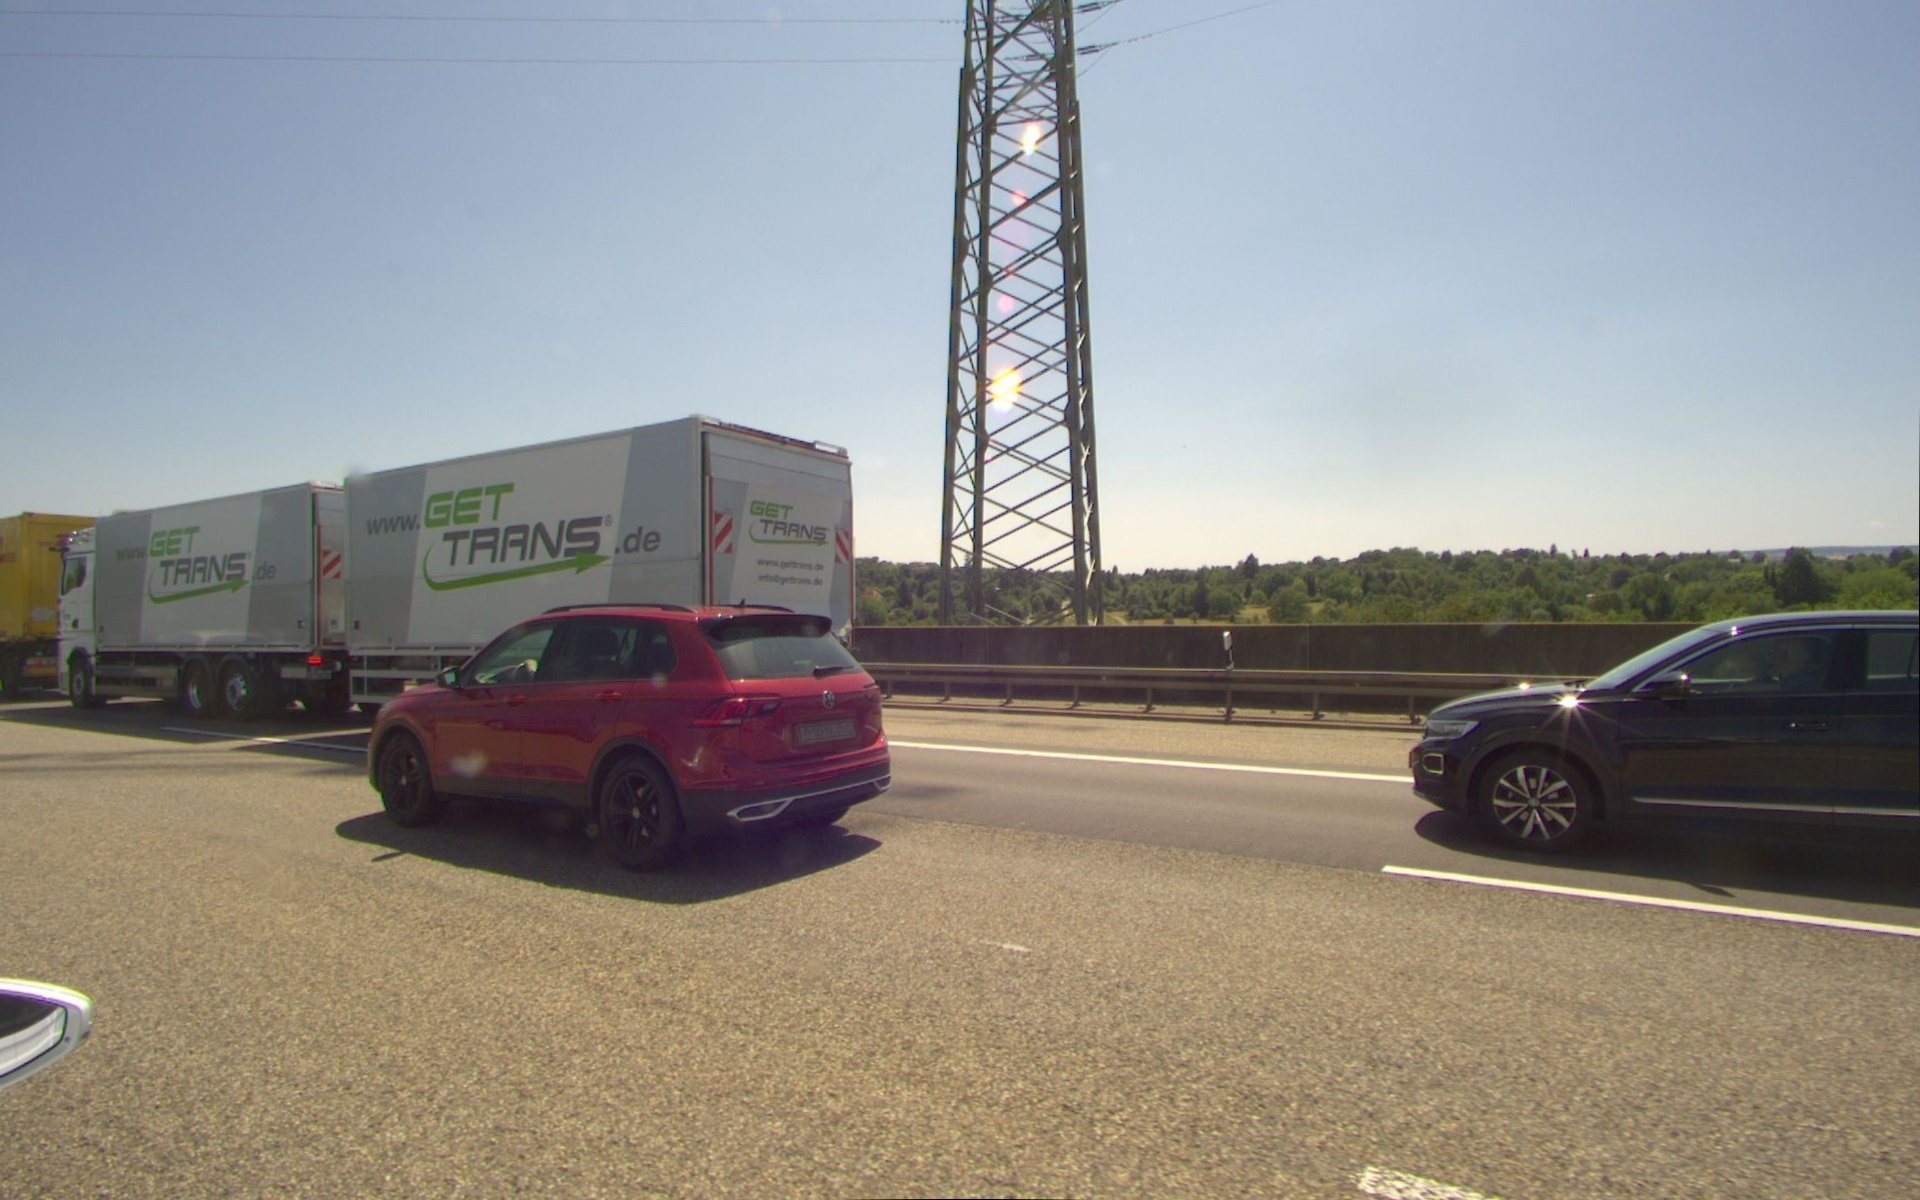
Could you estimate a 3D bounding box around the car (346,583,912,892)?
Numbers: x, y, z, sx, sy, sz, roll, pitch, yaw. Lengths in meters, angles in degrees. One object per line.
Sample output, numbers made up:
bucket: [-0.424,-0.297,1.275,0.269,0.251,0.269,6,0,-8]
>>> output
car: [-2.559,0.848,7.408,4.224,1.700,1.706,-2,-3,33]

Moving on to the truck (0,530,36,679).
truck: [-31.271,0.242,30.005,9.797,4.139,2.695,-2,-2,32]

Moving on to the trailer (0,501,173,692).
trailer: [-23.331,0.078,25.151,8.851,4.139,2.679,-2,-2,31]

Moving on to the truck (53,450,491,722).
truck: [-13.174,-0.026,18.679,10.459,3.984,2.847,-2,-2,32]

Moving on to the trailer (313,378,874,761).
trailer: [-5.280,-0.168,13.706,8.098,3.940,2.894,-2,-2,32]

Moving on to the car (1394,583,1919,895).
car: [5.117,0.789,6.425,4.060,1.675,1.705,-2,-2,33]
